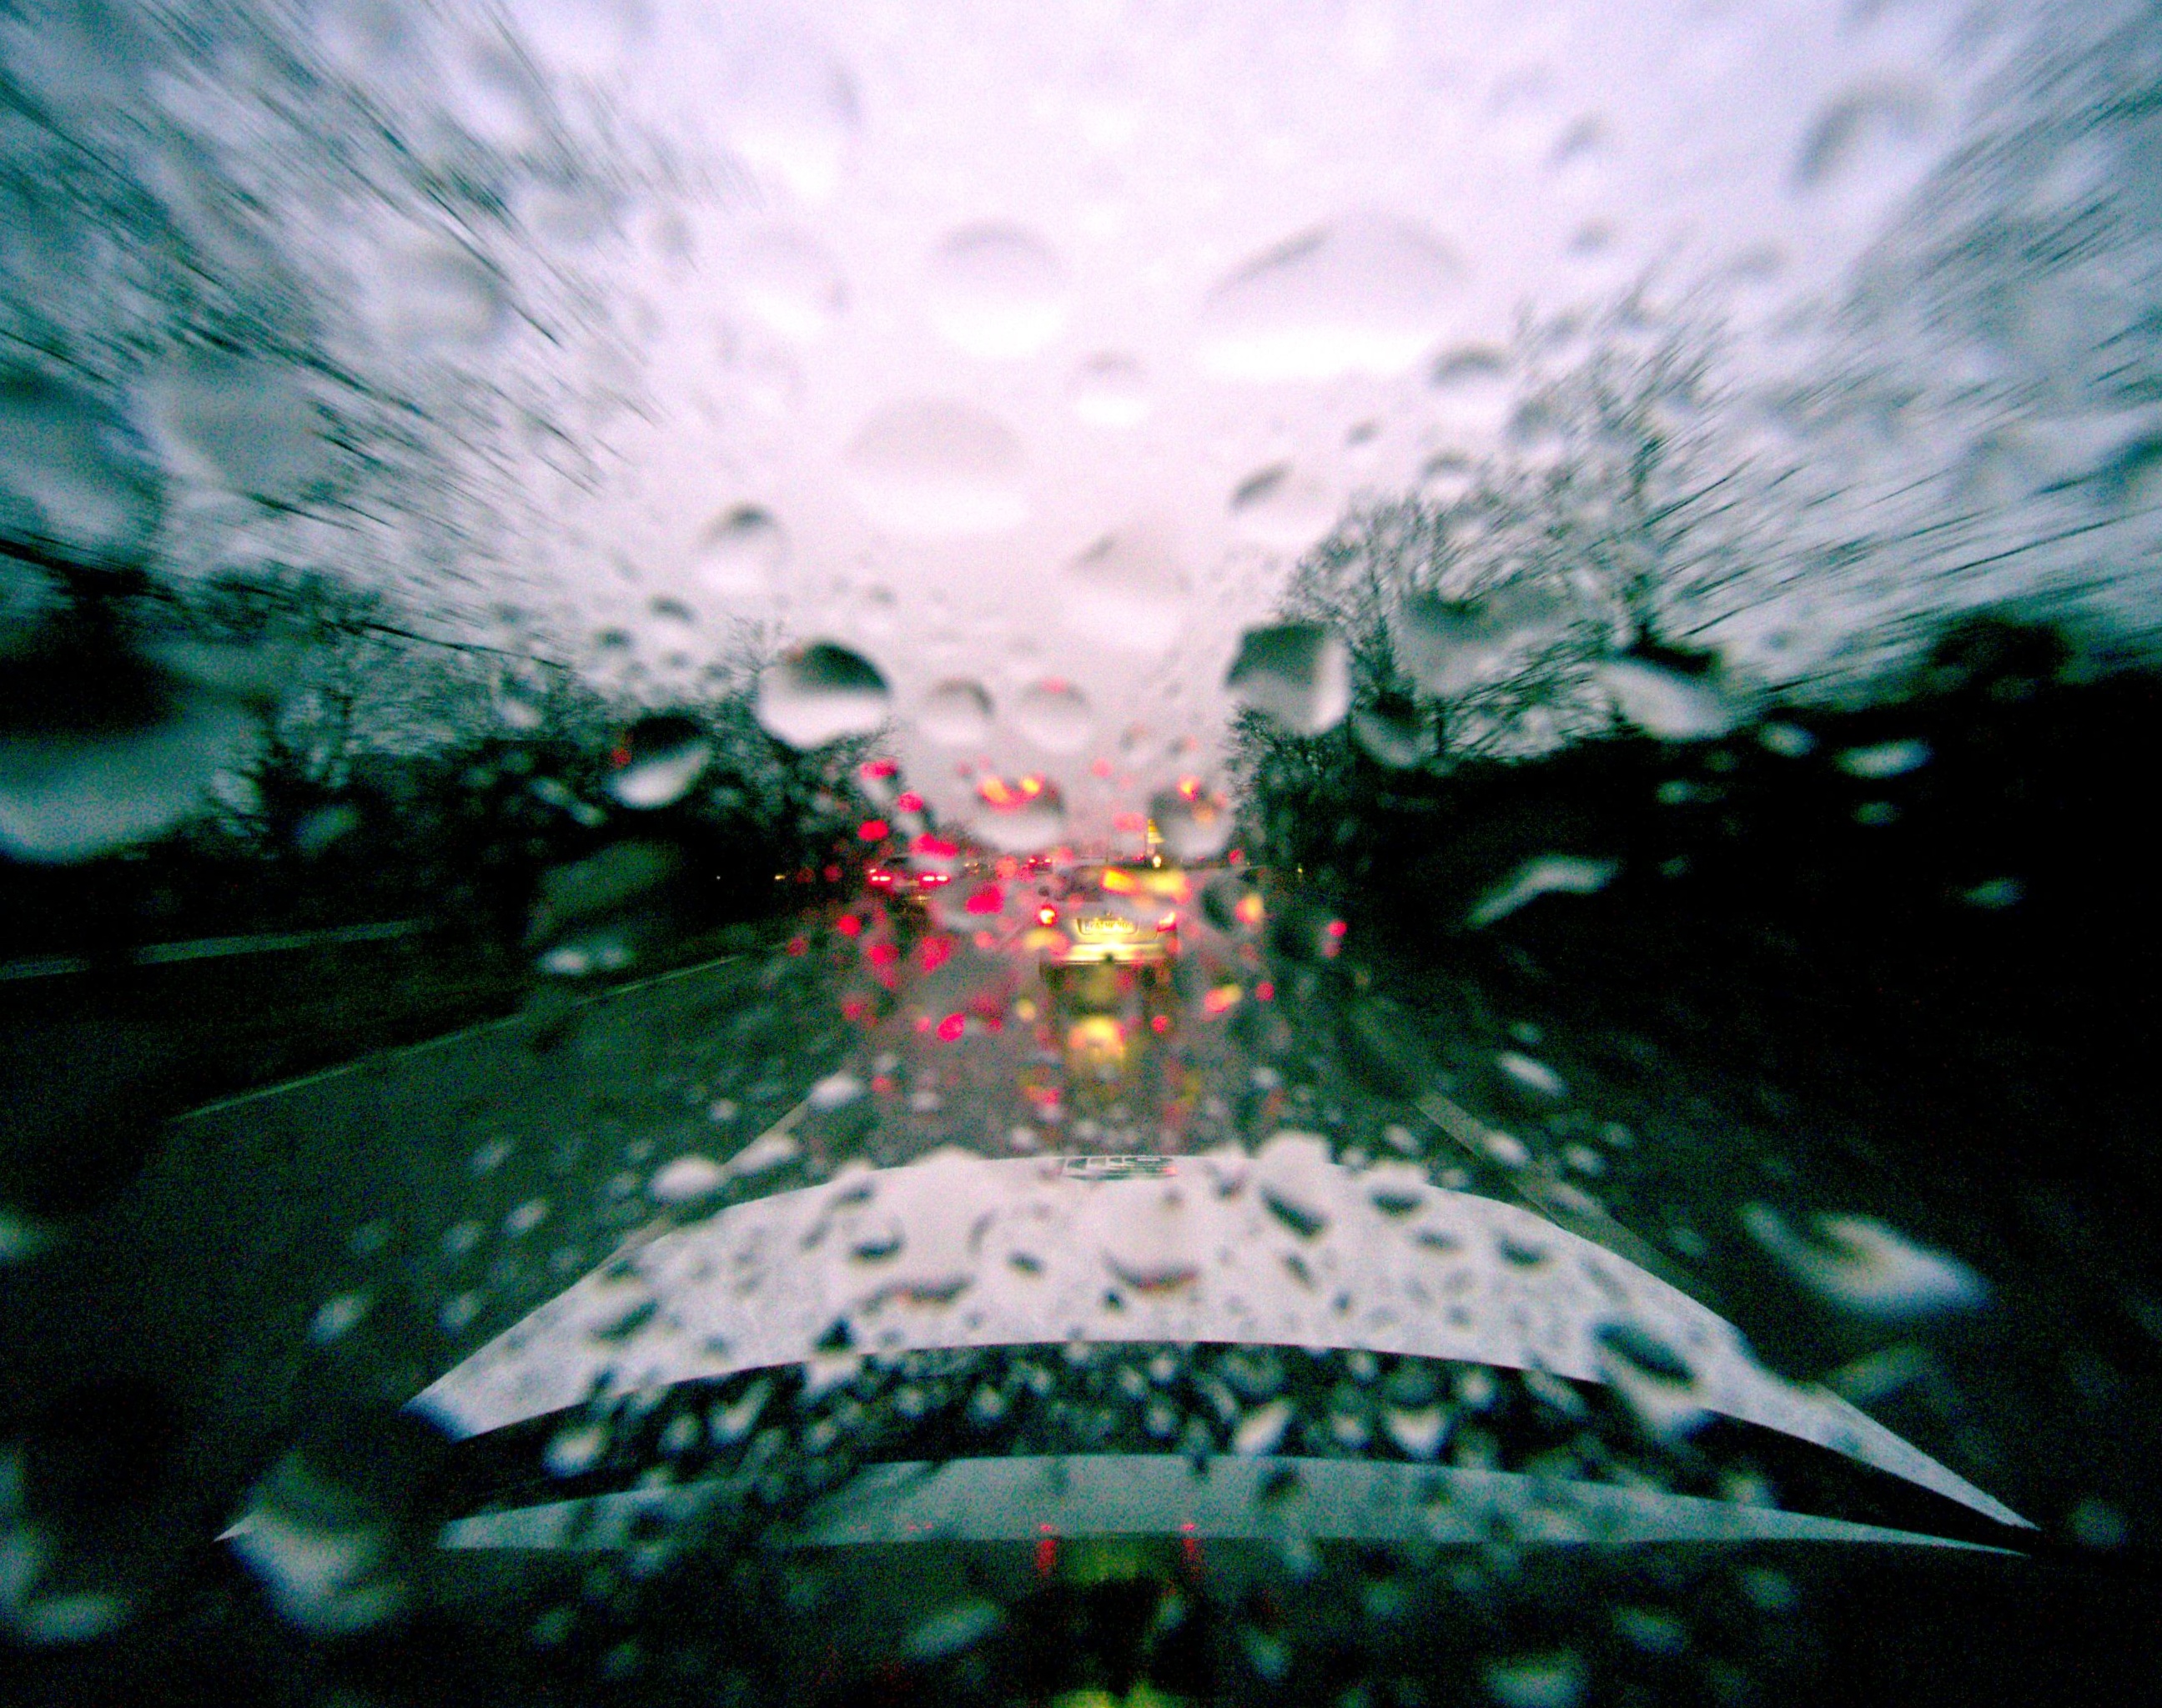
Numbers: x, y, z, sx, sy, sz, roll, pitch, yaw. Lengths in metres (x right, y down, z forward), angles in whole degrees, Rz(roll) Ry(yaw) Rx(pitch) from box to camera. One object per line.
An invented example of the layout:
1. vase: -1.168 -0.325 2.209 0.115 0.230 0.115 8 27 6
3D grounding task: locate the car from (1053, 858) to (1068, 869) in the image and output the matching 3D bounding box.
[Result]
1. car: -2.913 1.314 114.142 1.782 1.483 4.002 -2 0 2

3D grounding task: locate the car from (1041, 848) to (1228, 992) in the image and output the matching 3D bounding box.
1. car: 0.669 0.739 10.911 1.986 1.500 4.140 -2 -1 2

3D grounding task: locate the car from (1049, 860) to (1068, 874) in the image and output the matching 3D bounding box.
1. car: -2.483 1.436 90.915 1.782 1.545 4.002 -2 0 2

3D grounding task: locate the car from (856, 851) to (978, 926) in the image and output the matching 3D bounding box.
1. car: -3.769 0.743 19.513 1.987 1.601 4.309 0 0 1

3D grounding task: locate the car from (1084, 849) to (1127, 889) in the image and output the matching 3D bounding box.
1. car: 1.136 0.696 39.153 1.891 1.767 4.308 -1 0 0

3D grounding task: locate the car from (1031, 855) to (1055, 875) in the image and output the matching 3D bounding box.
1. car: -3.127 0.889 67.083 1.787 1.545 3.993 -1 0 -5
